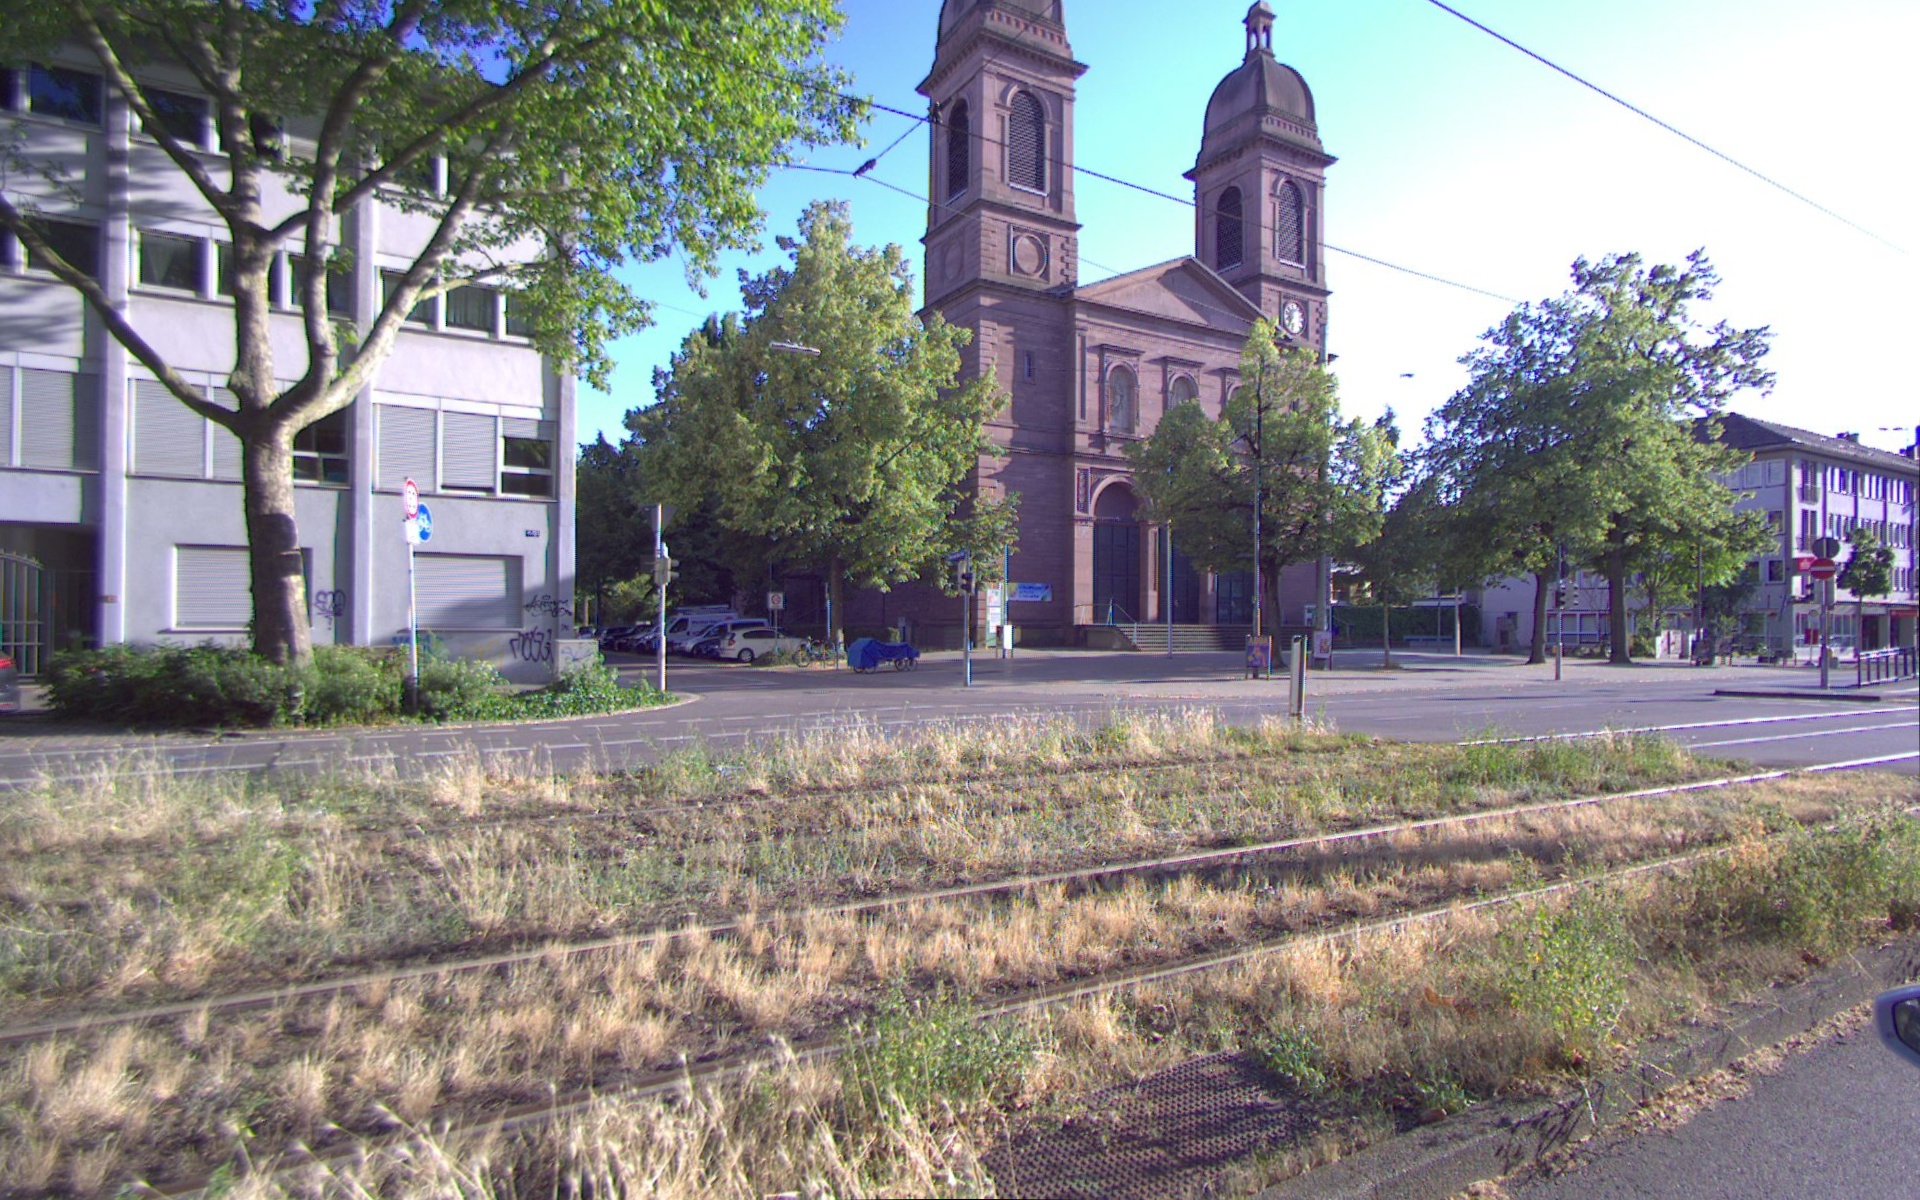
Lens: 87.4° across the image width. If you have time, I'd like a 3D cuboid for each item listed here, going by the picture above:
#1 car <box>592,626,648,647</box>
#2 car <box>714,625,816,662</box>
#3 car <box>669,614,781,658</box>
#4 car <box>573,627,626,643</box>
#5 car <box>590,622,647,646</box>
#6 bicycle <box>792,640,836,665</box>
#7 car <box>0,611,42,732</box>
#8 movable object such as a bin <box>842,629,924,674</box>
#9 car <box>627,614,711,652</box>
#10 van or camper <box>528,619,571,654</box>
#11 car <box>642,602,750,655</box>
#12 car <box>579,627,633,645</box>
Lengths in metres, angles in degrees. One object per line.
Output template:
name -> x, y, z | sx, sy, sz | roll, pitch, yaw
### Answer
car -> -25.262, 2.709, 74.624 | 3.667, 1.464, 1.662 | 1, -1, -30
car -> -8.508, 1.885, 43.953 | 3.953, 1.479, 1.984 | 2, 1, -30
car -> -11.765, 1.820, 50.467 | 5.120, 2.040, 1.982 | 2, 1, -33
car -> -28.269, 2.769, 78.790 | 3.667, 1.222, 1.662 | 1, -1, -30
car -> -24.634, 2.481, 72.531 | 3.667, 1.692, 1.662 | 1, -1, -30
bicycle -> -5.384, 1.936, 37.074 | 1.517, 0.904, 0.465 | 2, 1, -27
car -> -14.201, 0.861, 12.914 | 3.920, 1.499, 1.818 | 2, 1, 17
movable object such as a bin -> -2.500, 1.650, 32.804 | 2.416, 1.228, 1.102 | -3, 3, -30
car -> -16.625, 1.873, 57.448 | 4.173, 2.040, 1.982 | 2, 1, -33
van or camper -> -25.661, 2.257, 62.724 | 1.975, 2.040, 5.097 | 1, -1, -28
car -> -14.508, 1.555, 55.275 | 5.381, 2.710, 1.980 | 2, 1, -35
car -> -26.888, 2.712, 76.348 | 3.667, 1.303, 1.662 | 1, -1, -30
